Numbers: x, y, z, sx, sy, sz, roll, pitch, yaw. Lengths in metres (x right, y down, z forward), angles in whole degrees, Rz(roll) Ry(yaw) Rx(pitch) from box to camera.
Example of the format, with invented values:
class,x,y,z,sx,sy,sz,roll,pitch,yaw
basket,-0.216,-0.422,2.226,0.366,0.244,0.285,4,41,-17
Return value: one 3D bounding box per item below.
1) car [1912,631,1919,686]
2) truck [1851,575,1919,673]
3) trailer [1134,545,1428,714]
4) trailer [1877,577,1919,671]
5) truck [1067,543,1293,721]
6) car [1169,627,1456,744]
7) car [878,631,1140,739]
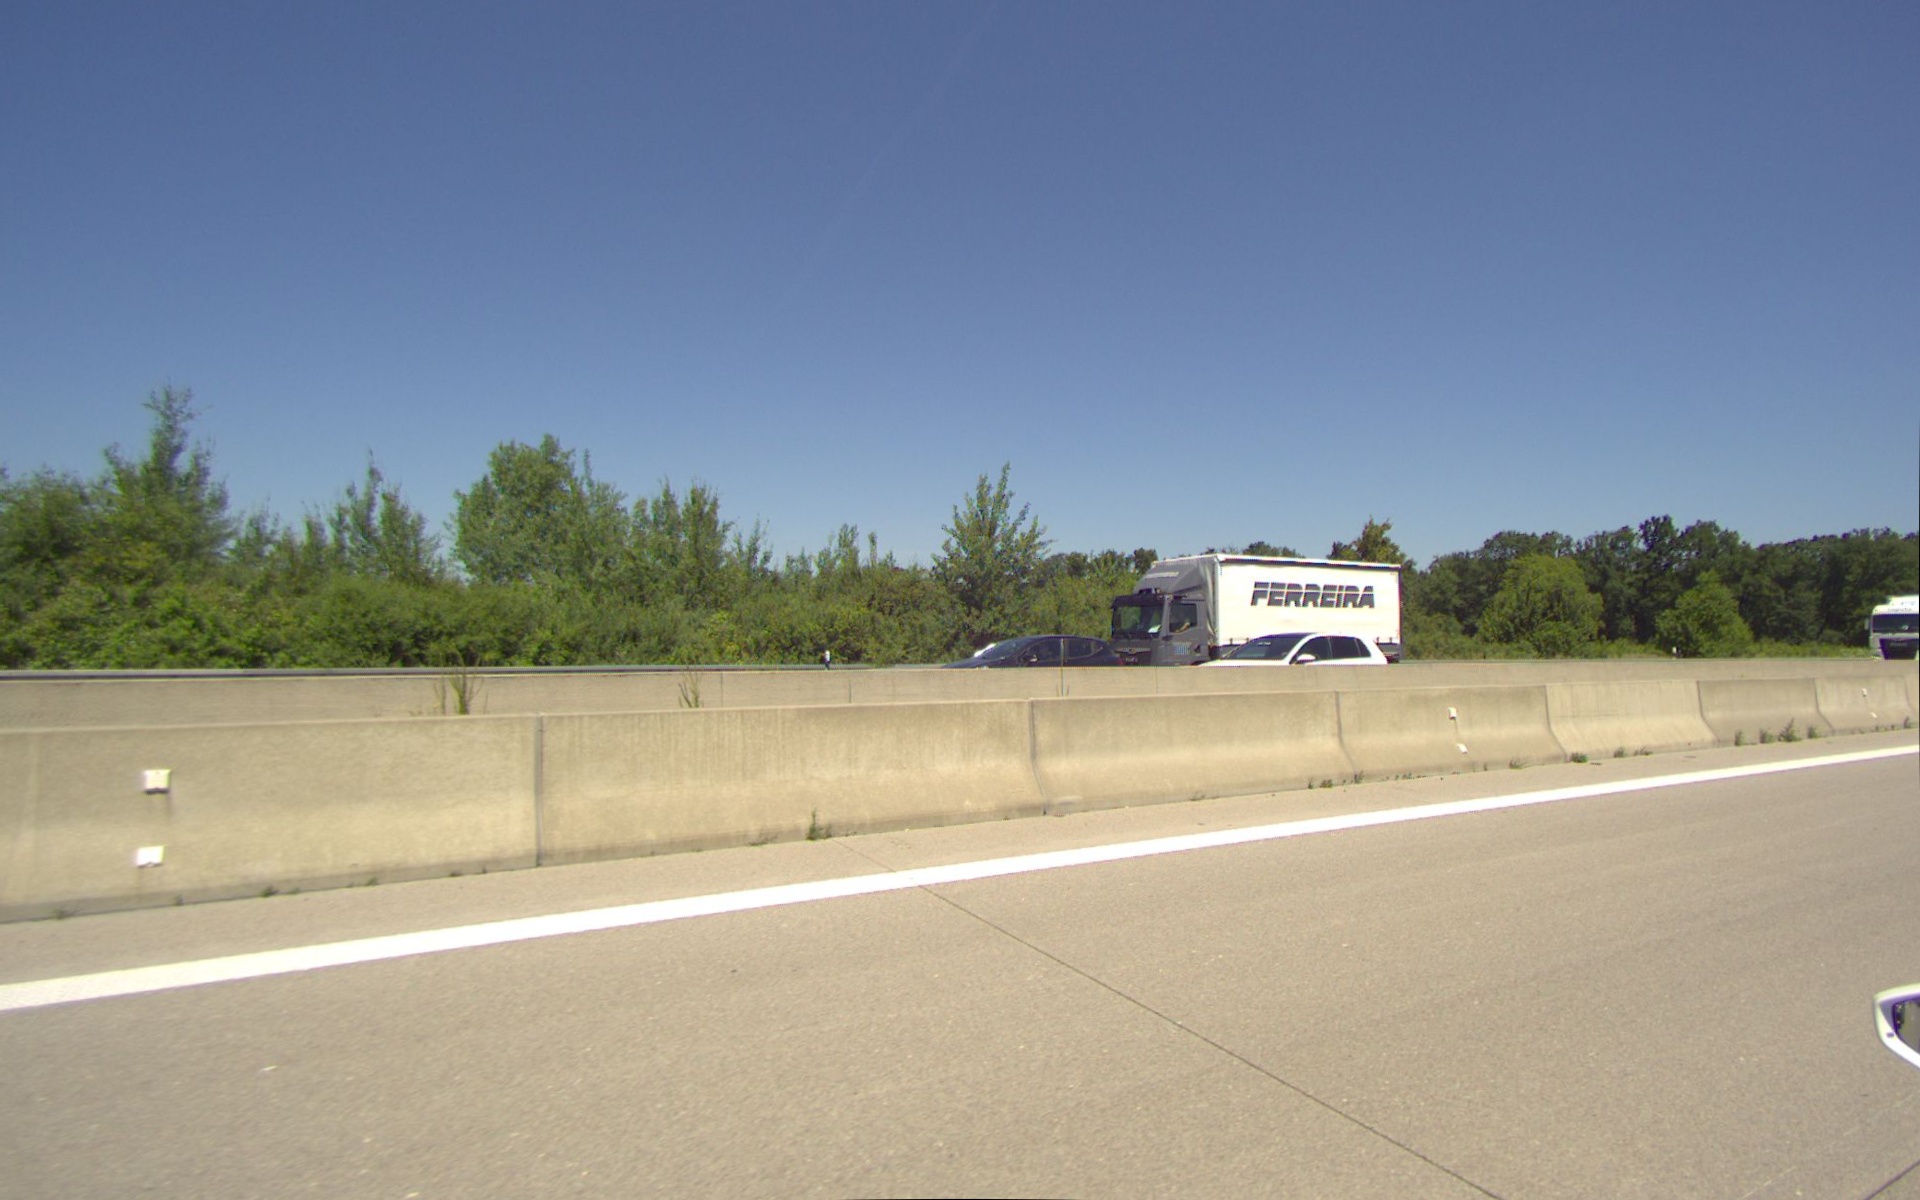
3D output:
class,x,y,z,sx,sy,sz,roll,pitch,yaw
car,34.262,2.004,33.854,4.413,1.819,1.984,1,0,-30
truck,49.341,1.240,51.875,6.421,4.825,3.068,1,0,-30
trailer,9.095,0.800,28.087,8.383,4.160,2.939,1,0,-30
trailer,55.517,1.386,55.477,14.203,4.825,3.067,1,0,-30
truck,5.723,0.796,26.131,5.025,4.183,2.939,1,0,-30
car,6.336,1.416,17.900,5.096,1.781,1.984,1,0,-30
car,0.972,1.521,19.133,4.659,1.781,1.984,1,0,-30
